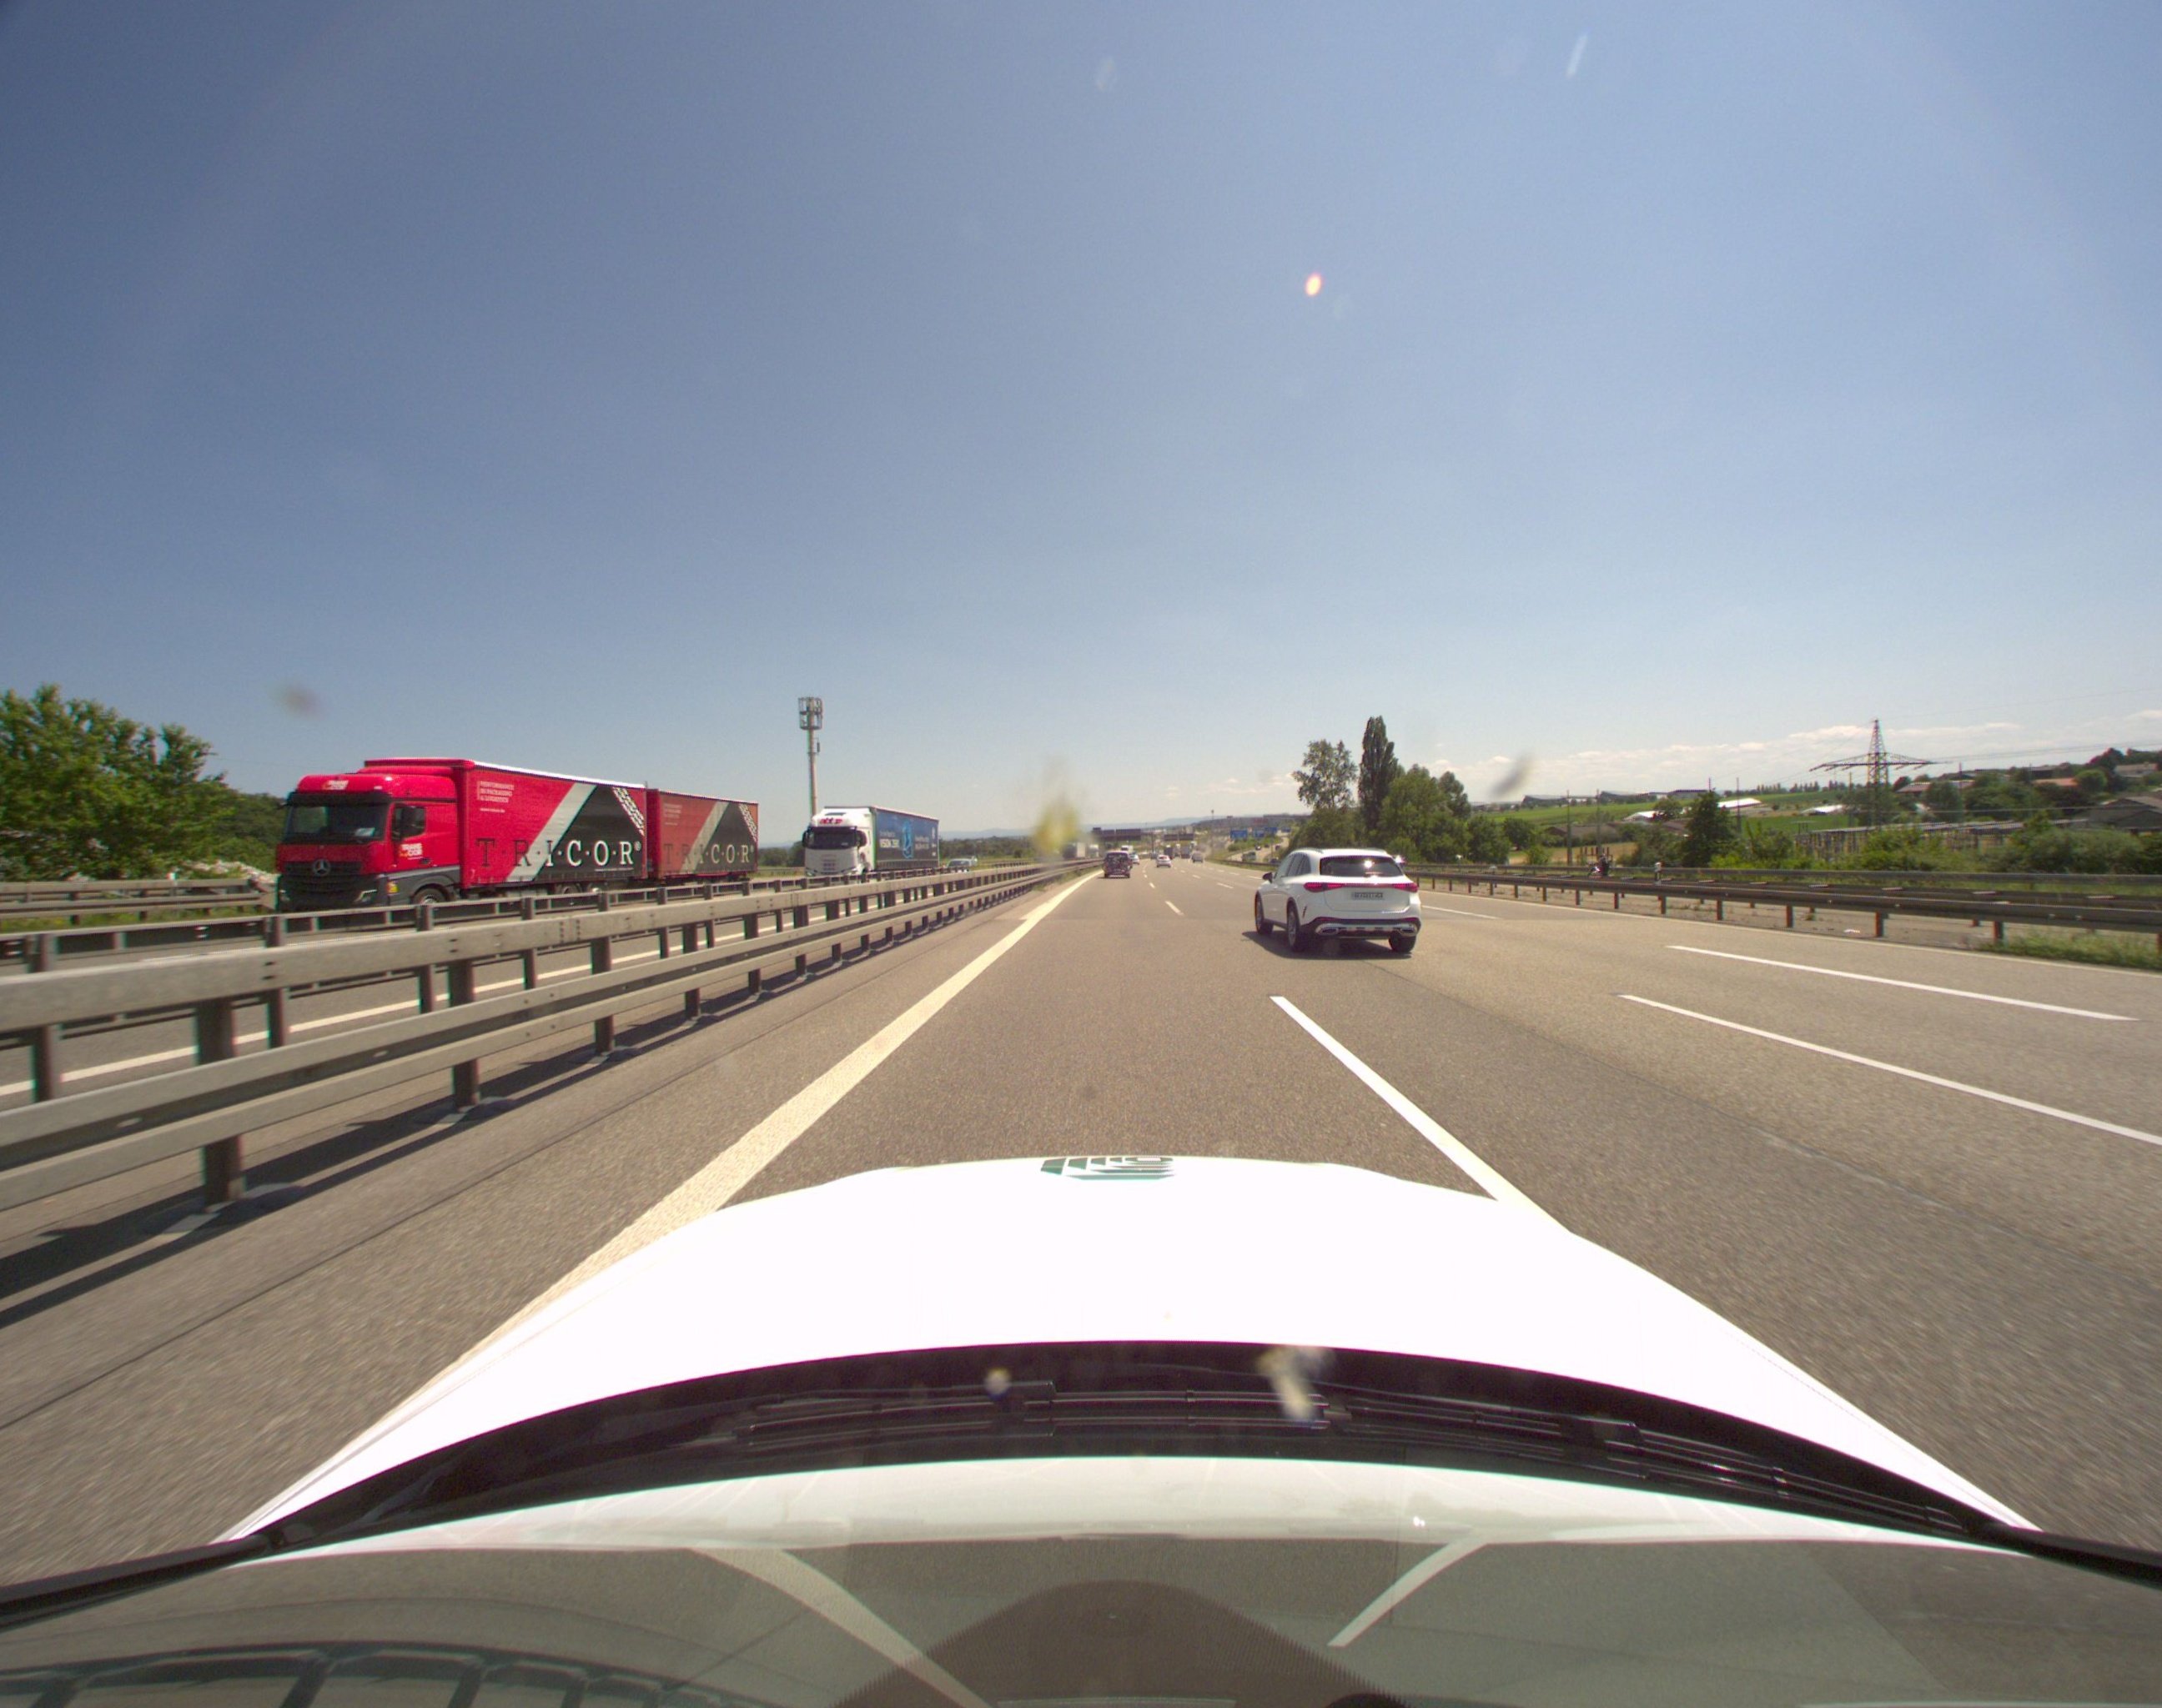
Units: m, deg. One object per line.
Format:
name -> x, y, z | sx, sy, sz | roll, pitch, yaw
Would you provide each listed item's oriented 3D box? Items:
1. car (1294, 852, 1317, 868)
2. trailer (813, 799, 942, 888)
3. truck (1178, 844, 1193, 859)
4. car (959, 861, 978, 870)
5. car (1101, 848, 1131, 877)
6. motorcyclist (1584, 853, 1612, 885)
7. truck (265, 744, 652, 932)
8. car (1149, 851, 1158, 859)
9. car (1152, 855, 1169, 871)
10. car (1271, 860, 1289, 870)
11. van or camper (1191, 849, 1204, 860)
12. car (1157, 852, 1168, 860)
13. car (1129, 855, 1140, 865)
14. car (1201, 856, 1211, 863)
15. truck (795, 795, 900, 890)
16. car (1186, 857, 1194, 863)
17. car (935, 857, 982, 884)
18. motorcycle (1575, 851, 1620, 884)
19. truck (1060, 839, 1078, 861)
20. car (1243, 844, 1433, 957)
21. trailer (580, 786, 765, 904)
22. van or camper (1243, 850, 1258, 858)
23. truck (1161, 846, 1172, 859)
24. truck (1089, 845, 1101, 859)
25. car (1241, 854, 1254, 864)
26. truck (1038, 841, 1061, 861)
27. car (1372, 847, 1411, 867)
car -> 28.015, 0.749, 101.751 | 1.932, 1.923, 4.180 | 0, 0, 2
trailer -> -11.110, -0.473, 46.795 | 2.933, 4.342, 14.632 | 0, 0, 3
truck -> 32.103, -0.857, 249.183 | 4.014, 4.261, 11.793 | 0, 2, 10
car -> -16.822, 1.720, 122.494 | 1.509, 1.401, 4.809 | 0, 0, 9
car -> 2.407, 0.561, 55.543 | 1.919, 1.919, 4.952 | 0, 0, 3
motorcyclist -> 22.530, 0.644, 35.504 | 0.666, 1.366, 0.879 | 0, -1, 1
truck -> -16.403, -0.347, 23.054 | 2.571, 4.115, 10.355 | 0, 0, 3
car -> 19.906, 0.258, 224.067 | 2.174, 2.003, 4.008 | 0, 0, 7
car -> 9.832, 1.077, 101.278 | 1.919, 1.919, 4.520 | 0, 0, 3
car -> 29.869, 1.641, 122.503 | 1.984, 1.596, 4.005 | 0, 0, 4
van or camper -> 22.393, 0.116, 156.762 | 2.146, 2.014, 4.310 | 0, 0, 5
car -> 15.443, 0.442, 154.500 | 1.973, 1.473, 4.005 | -1, 0, 4
car -> 8.135, 0.893, 123.899 | 1.569, 1.552, 3.968 | 0, 0, 4
car -> 30.912, 1.452, 201.137 | 1.986, 1.690, 4.002 | 0, 0, 2
truck -> -11.503, -0.501, 40.847 | 2.915, 4.345, 6.921 | 0, 0, 3
car -> 29.765, 1.607, 222.623 | 1.983, 1.690, 4.007 | 0, 0, 6
car -> -7.293, 0.960, 49.087 | 1.859, 1.464, 4.642 | 0, 0, 3
motorcycle -> 22.536, 0.579, 35.564 | 0.757, 1.366, 1.869 | 0, 0, 0
truck -> -2.295, -0.790, 157.640 | 2.954, 4.120, 7.606 | 0, 0, 4
car -> 4.229, 0.686, 14.331 | 1.891, 1.647, 5.000 | 0, 0, 1
trailer -> -15.888, -0.291, 32.662 | 2.548, 4.105, 8.722 | 0, 0, 3
van or camper -> 43.187, 0.026, 207.181 | 2.525, 2.014, 4.452 | 0, 0, -5
truck -> 22.580, -0.359, 214.376 | 2.688, 3.109, 10.678 | 0, 0, 7
truck -> 4.071, -0.570, 229.311 | 2.867, 4.117, 6.394 | 0, 0, 6
car -> 34.633, 1.058, 169.307 | 1.988, 2.014, 3.998 | 0, 0, -1
truck -> -6.036, -0.564, 157.867 | 3.204, 3.785, 12.914 | 0, 0, 4
car -> 24.686, 0.228, 64.883 | 1.693, 1.575, 4.129 | 0, 0, 1
